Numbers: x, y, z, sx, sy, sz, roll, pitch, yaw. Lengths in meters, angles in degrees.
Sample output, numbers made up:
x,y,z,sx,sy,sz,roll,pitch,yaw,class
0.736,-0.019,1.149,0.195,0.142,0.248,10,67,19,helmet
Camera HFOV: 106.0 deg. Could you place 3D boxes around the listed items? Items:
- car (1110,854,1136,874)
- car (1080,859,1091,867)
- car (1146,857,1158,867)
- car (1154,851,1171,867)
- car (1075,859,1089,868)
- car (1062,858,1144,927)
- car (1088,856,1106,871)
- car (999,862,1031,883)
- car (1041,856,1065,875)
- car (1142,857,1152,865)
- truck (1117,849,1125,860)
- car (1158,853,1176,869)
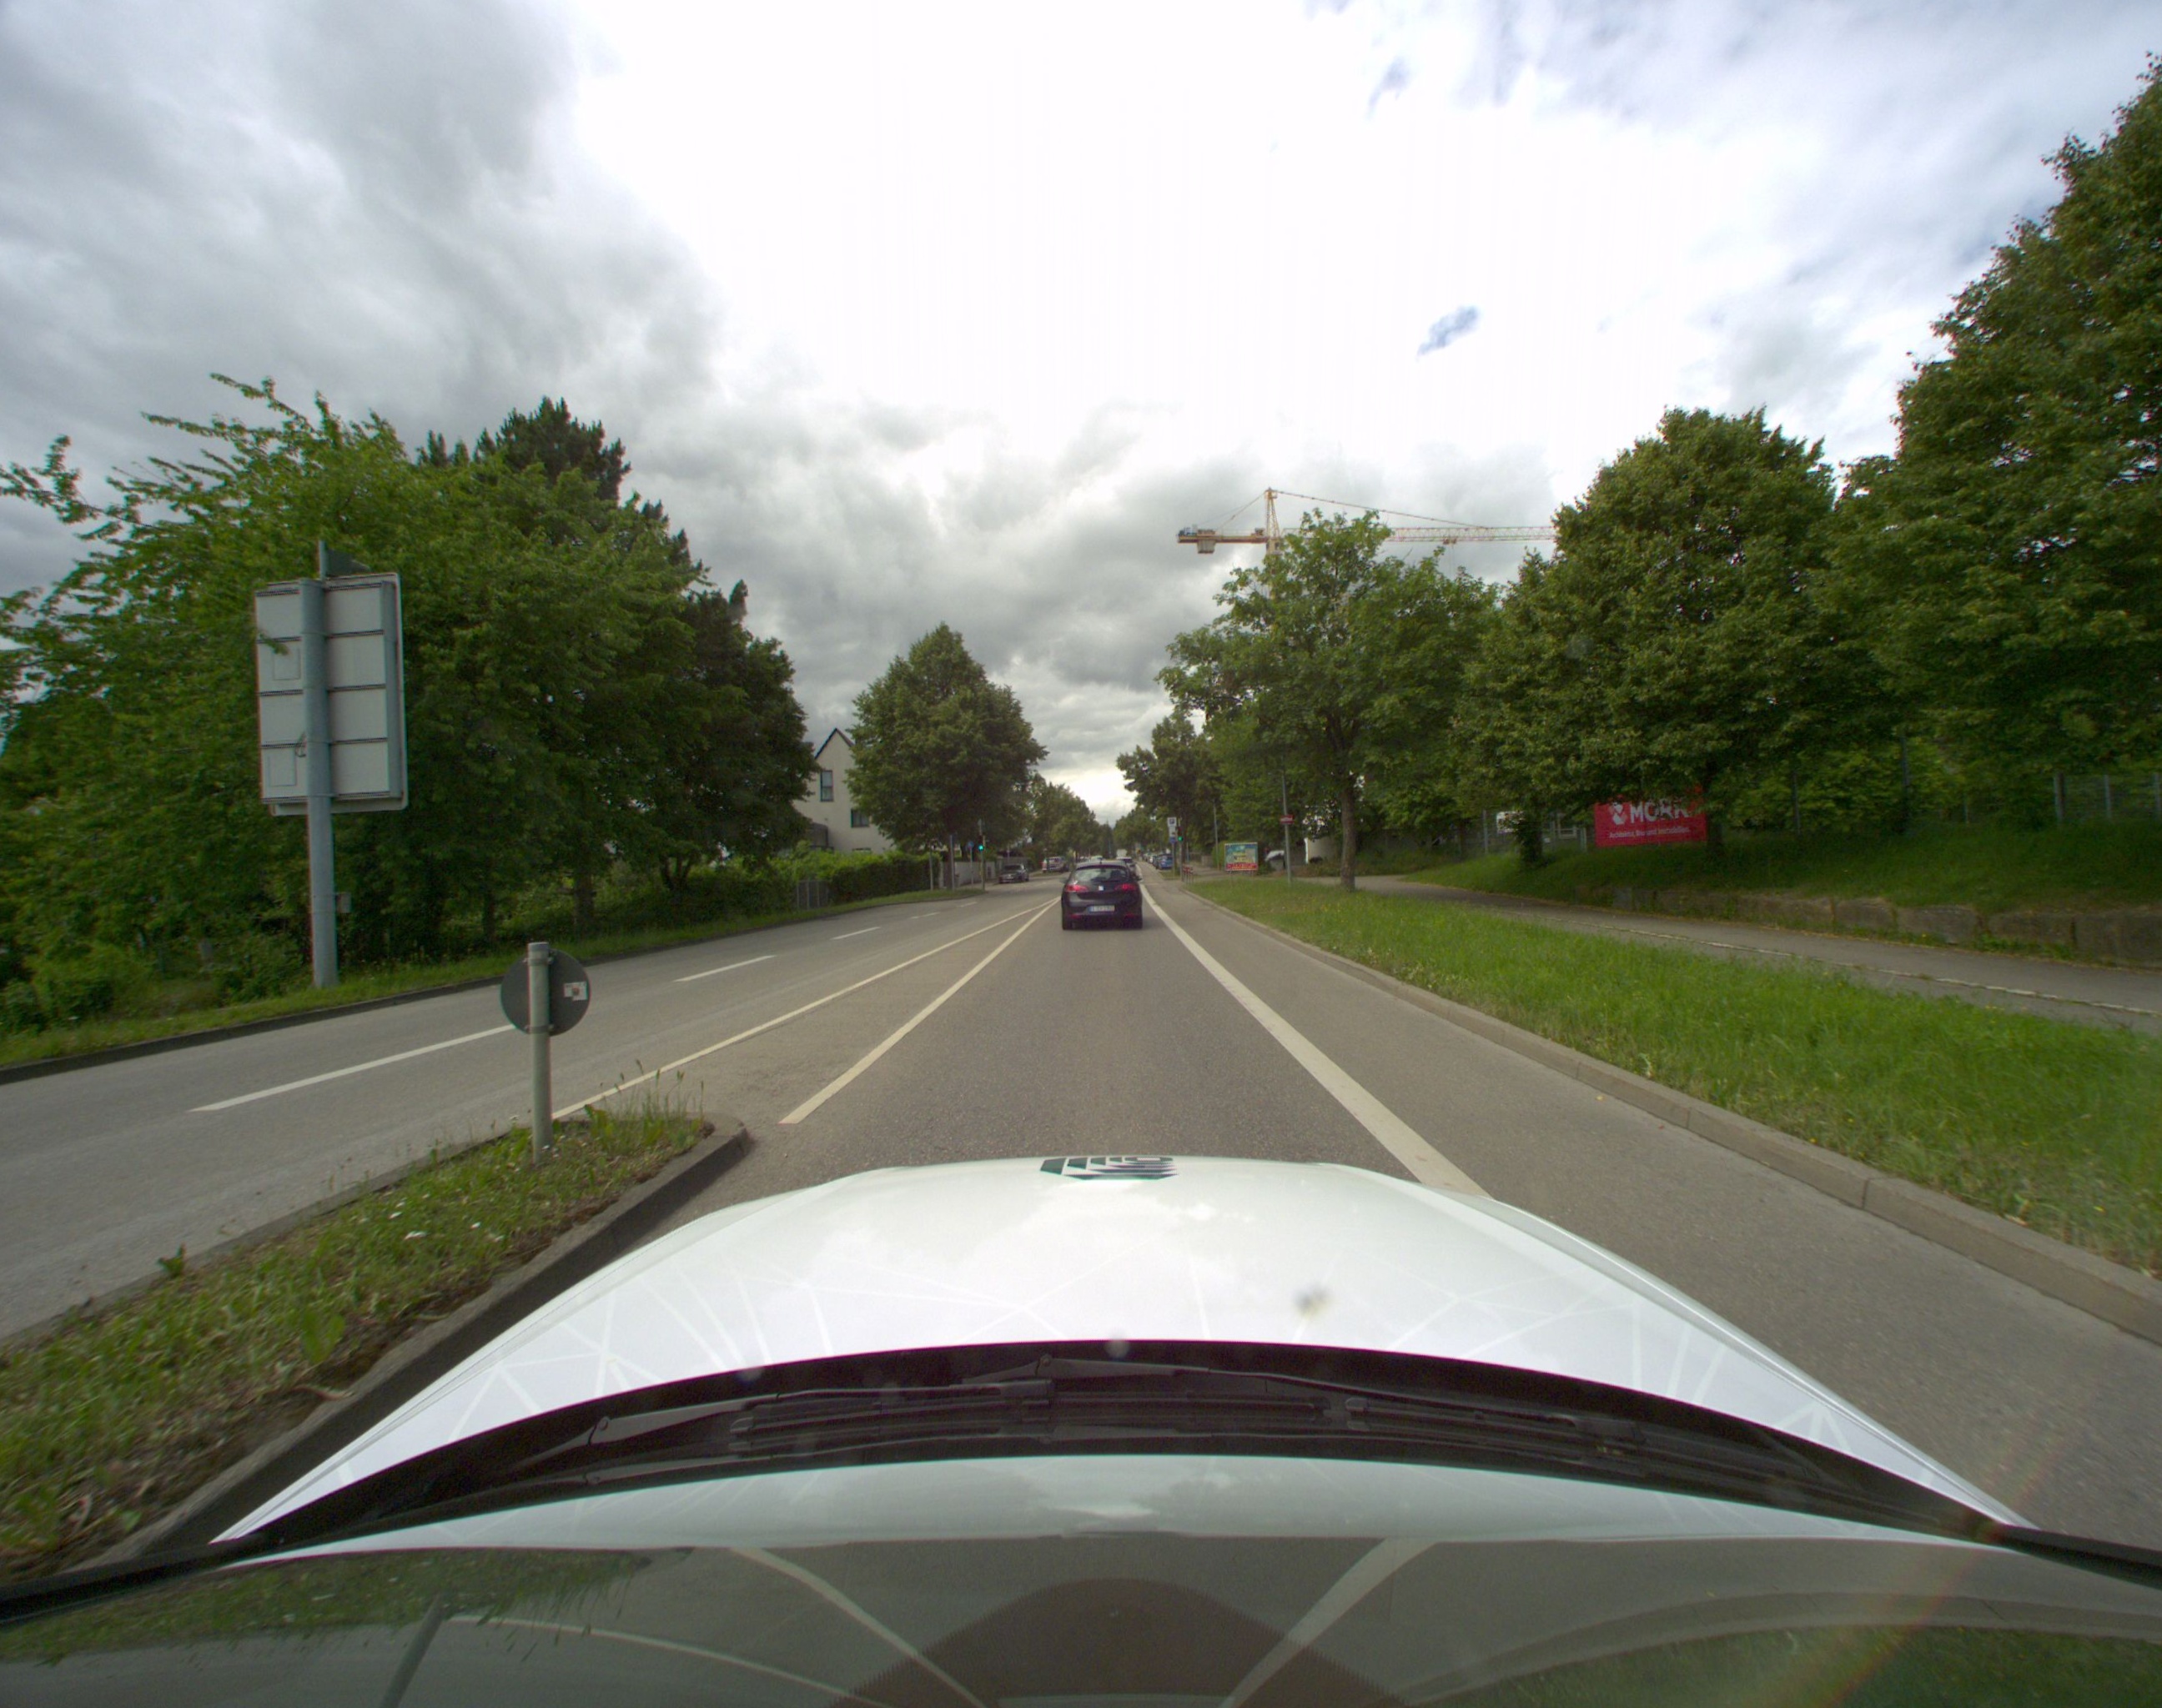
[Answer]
x,y,z,sx,sy,sz,roll,pitch,yaw,class
3.264,0.752,62.386,1.837,1.510,3.816,-1,-1,5,car
0.941,2.036,180.884,2.091,1.506,5.788,-4,-1,3,car
11.600,1.273,133.204,1.681,1.564,4.217,-2,0,3,car
8.985,0.534,89.874,1.681,1.711,4.217,-2,0,3,car
0.265,1.777,148.039,2.091,1.506,5.788,-4,-1,3,car
0.506,0.808,18.567,1.656,1.401,3.813,-1,-1,2,car
1.960,1.098,97.999,1.866,1.635,4.346,-4,-1,5,car
-4.934,1.342,61.640,1.711,1.395,4.805,-4,-1,3,car
-3.112,1.233,90.843,2.091,1.896,5.788,-4,-1,3,car
12.808,1.324,157.558,1.681,1.564,4.217,-2,0,3,car
11.391,0.116,232.411,2.270,3.104,8.515,0,-1,2,truck
8.971,0.723,84.843,1.681,1.490,3.357,-2,0,3,car
